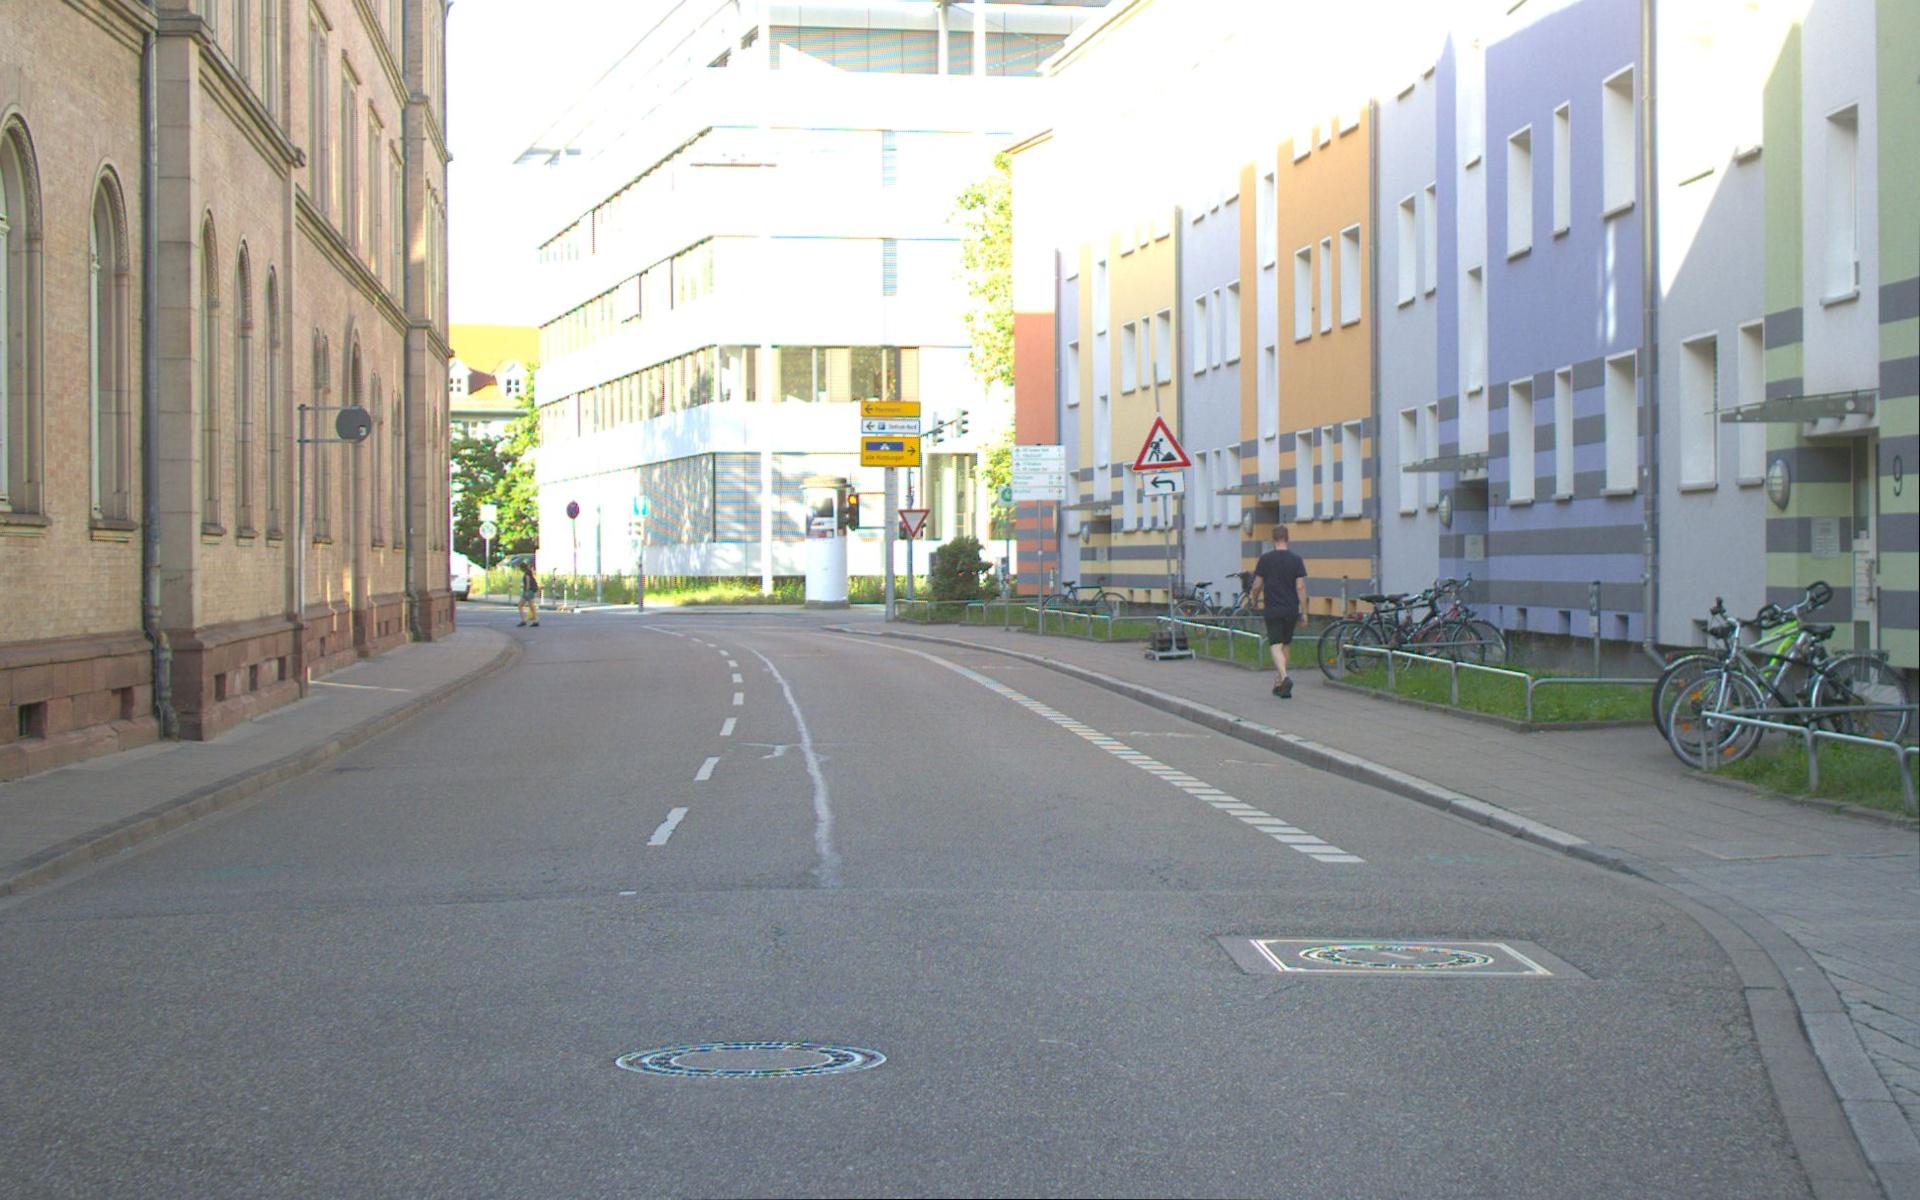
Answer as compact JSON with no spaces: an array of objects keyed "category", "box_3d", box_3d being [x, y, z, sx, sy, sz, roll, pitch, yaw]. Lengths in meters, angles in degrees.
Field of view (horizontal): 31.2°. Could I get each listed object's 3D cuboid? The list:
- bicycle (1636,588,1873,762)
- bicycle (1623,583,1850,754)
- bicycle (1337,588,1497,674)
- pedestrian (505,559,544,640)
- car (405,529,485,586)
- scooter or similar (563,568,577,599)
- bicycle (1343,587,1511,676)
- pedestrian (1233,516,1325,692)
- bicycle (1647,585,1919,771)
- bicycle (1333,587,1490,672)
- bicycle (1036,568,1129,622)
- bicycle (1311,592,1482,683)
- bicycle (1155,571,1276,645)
[{"category":"bicycle","box_3d":[5.724,0.533,24.765,1.640,1.137,0.283,-3,1,-11]},{"category":"bicycle","box_3d":[5.658,0.495,25.033,1.602,1.137,0.237,-3,1,-11]},{"category":"bicycle","box_3d":[5.187,0.346,39.030,1.748,0.943,0.326,-1,0,-2]},{"category":"pedestrian","box_3d":[-10.934,-0.017,86.292,0.895,2.007,0.753,-1,0,-11]},{"category":"car","box_3d":[-20.335,-1.656,135.540,2.423,2.105,5.233,2,0,-16]},{"category":"scooter or similar","box_3d":[-13.301,-0.577,117.257,0.325,1.056,1.143,0,1,-15]},{"category":"bicycle","box_3d":[5.150,0.341,37.985,1.748,0.943,0.552,-1,0,-3]},{"category":"pedestrian","box_3d":[3.282,0.036,35.422,0.696,1.754,1.189,-3,1,-3]},{"category":"bicycle","box_3d":[5.626,0.523,23.354,1.748,1.137,0.552,-3,1,-3]},{"category":"bicycle","box_3d":[5.189,0.336,39.549,1.748,0.943,0.335,-1,0,-3]},{"category":"bicycle","box_3d":[2.423,-0.100,68.091,1.753,1.000,0.613,-2,0,-8]},{"category":"bicycle","box_3d":[4.728,0.404,37.261,1.748,0.943,0.552,-1,0,-3]},{"category":"bicycle","box_3d":[3.996,0.122,53.860,1.810,1.133,0.552,0,0,-5]}]
